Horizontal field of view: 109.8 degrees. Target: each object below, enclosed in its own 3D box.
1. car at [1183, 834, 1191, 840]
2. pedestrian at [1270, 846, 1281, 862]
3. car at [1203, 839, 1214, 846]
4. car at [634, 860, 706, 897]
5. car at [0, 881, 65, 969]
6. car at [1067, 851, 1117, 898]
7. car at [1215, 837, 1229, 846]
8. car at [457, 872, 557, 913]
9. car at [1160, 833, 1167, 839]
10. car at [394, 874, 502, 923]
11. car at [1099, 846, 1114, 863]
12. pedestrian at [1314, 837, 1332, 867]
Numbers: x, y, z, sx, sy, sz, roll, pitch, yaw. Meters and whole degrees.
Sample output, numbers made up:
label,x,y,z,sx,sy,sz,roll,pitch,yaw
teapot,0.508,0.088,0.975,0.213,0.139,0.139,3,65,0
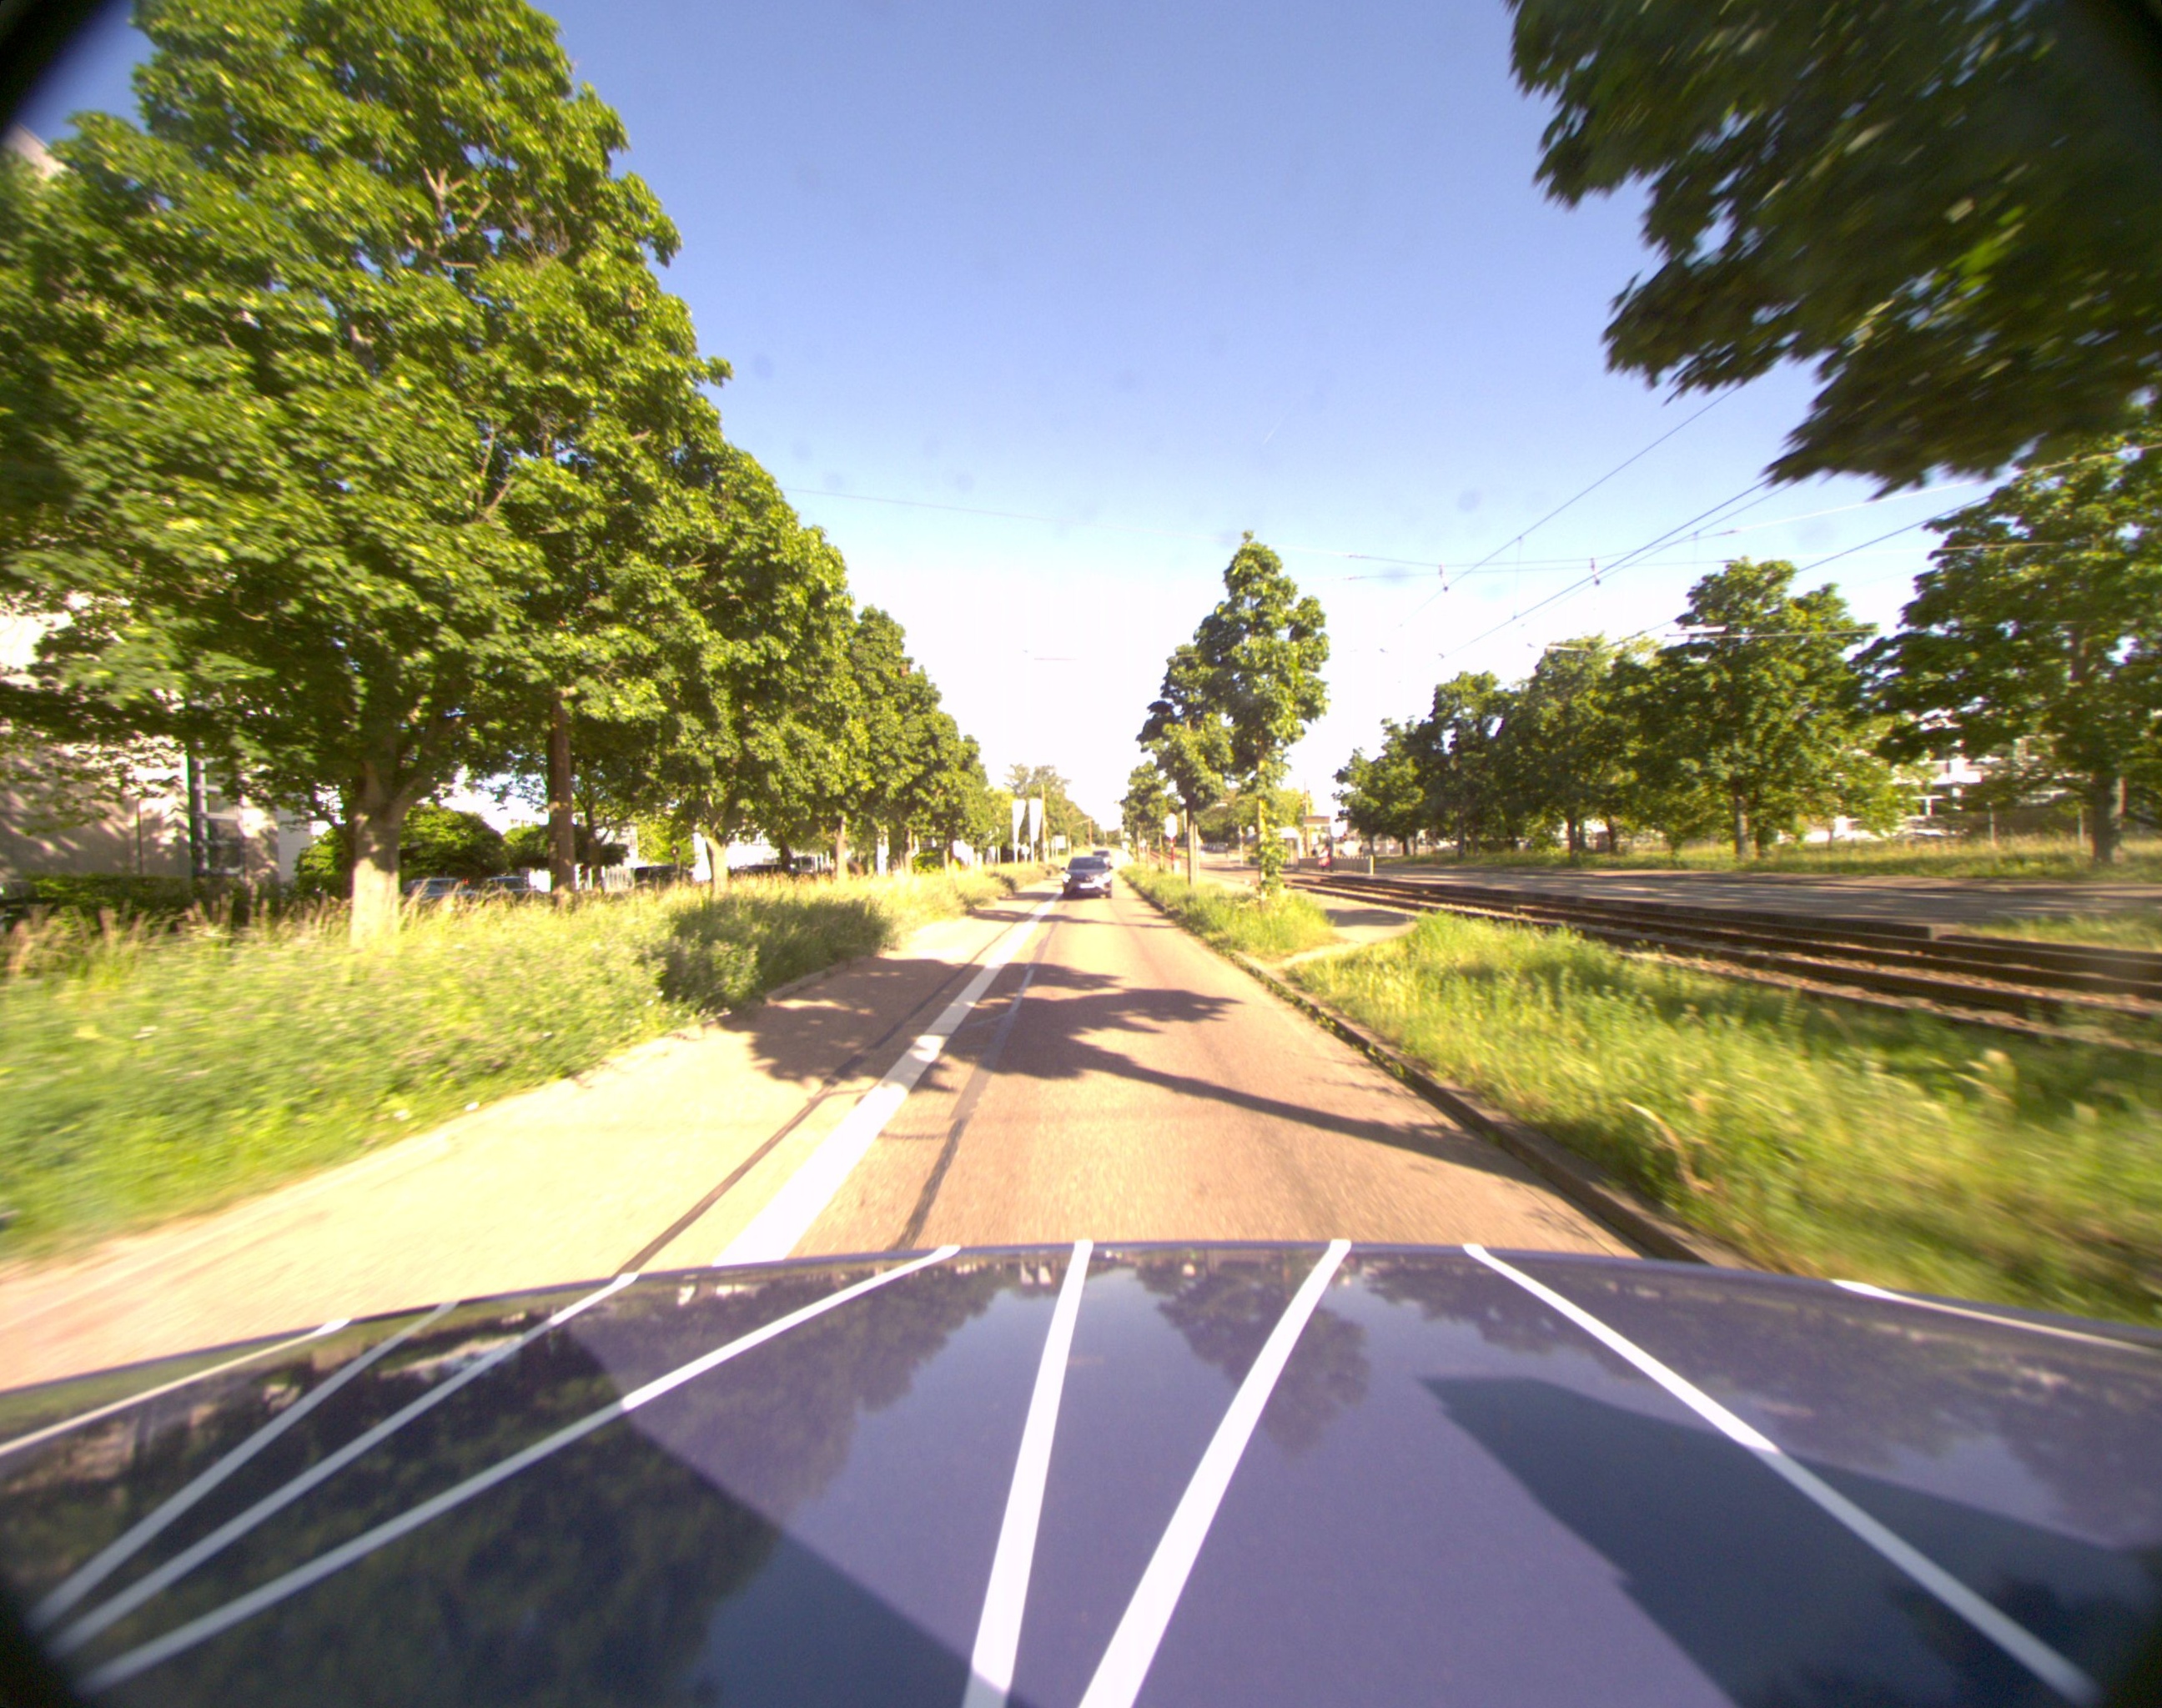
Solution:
label,x,y,z,sx,sy,sz,roll,pitch,yaw
car,27.626,-4.426,198.311,1.701,1.575,3.456,-1,0,0
pedestrian,15.278,0.017,59.753,0.650,1.242,0.681,0,1,-7
car,26.463,-2.376,158.035,1.701,1.575,3.456,-1,0,0
car,-22.868,1.358,42.178,2.084,1.865,5.172,-3,1,-44
car,-23.264,1.485,15.525,1.923,1.741,5.441,-3,1,-42
car,0.382,0.750,29.754,1.750,1.585,4.246,-2,1,0
car,25.798,-2.217,139.184,1.771,1.575,3.456,-1,0,0
car,-22.898,1.510,30.254,4.537,1.440,1.851,-2,1,36
car,23.790,-5.080,218.516,1.701,1.575,3.456,-1,0,0
car,-22.678,1.556,27.170,4.537,1.507,1.851,-2,1,36
car,2.888,0.049,86.304,1.555,1.765,3.456,-1,1,0
pedestrian,14.457,-0.120,45.440,0.786,1.741,0.781,-2,1,0
